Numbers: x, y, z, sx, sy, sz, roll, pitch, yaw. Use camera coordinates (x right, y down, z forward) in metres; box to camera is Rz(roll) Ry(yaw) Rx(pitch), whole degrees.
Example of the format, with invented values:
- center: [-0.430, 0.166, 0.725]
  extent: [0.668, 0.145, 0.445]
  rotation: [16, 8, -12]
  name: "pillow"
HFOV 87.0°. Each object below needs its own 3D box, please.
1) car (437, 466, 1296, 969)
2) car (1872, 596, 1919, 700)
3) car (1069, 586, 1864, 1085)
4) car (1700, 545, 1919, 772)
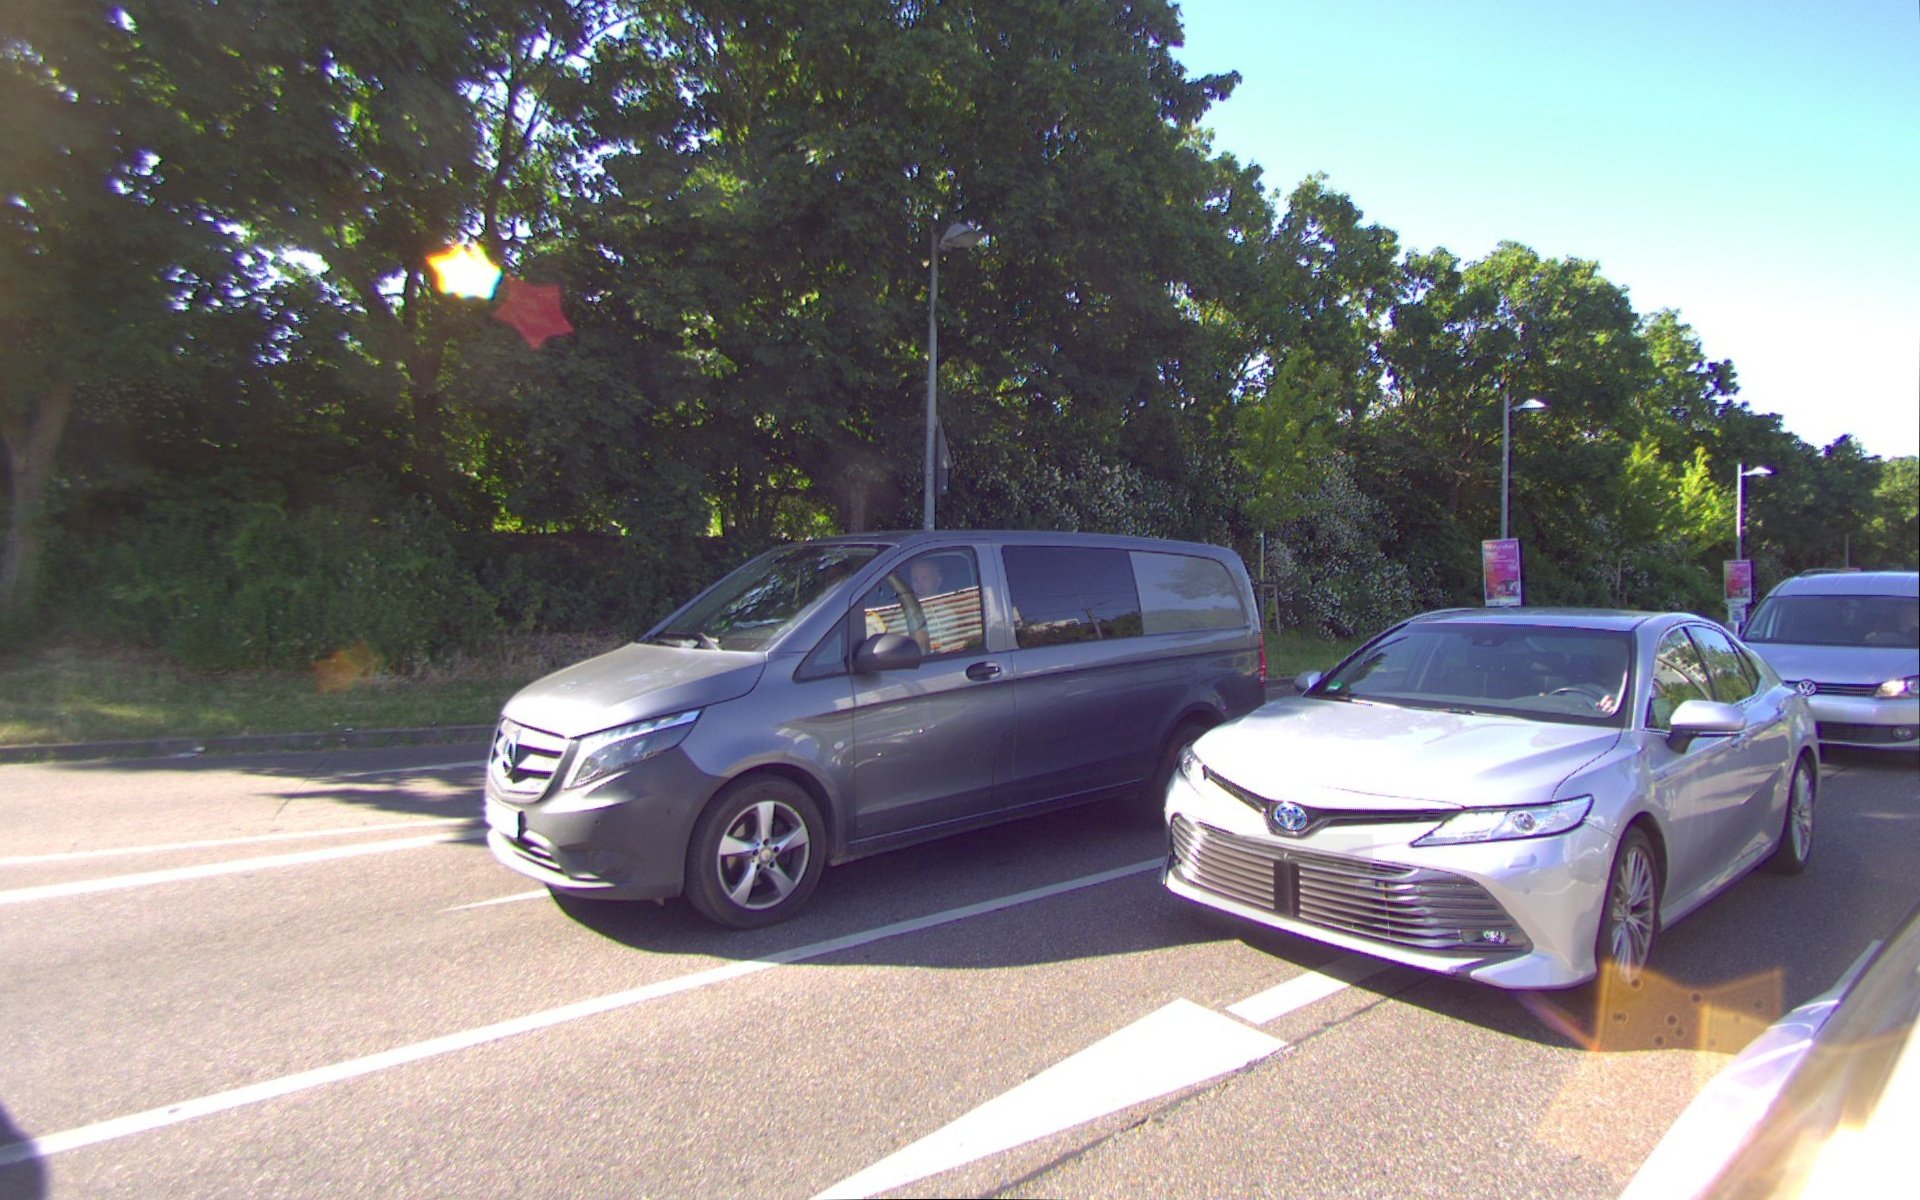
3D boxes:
- center: [-0.218, 0.415, 6.262]
  extent: [5.056, 1.917, 1.998]
  rotation: [0, 1, -40]
  name: "car"
- center: [14.975, 0.675, 14.877]
  extent: [3.995, 1.421, 1.776]
  rotation: [0, 1, -40]
  name: "car"
- center: [2.953, 0.695, 5.360]
  extent: [4.664, 1.477, 2.069]
  rotation: [0, 2, -40]
  name: "car"
- center: [9.505, 0.471, 10.552]
  extent: [4.540, 1.928, 1.822]
  rotation: [0, 1, -40]
  name: "car"
